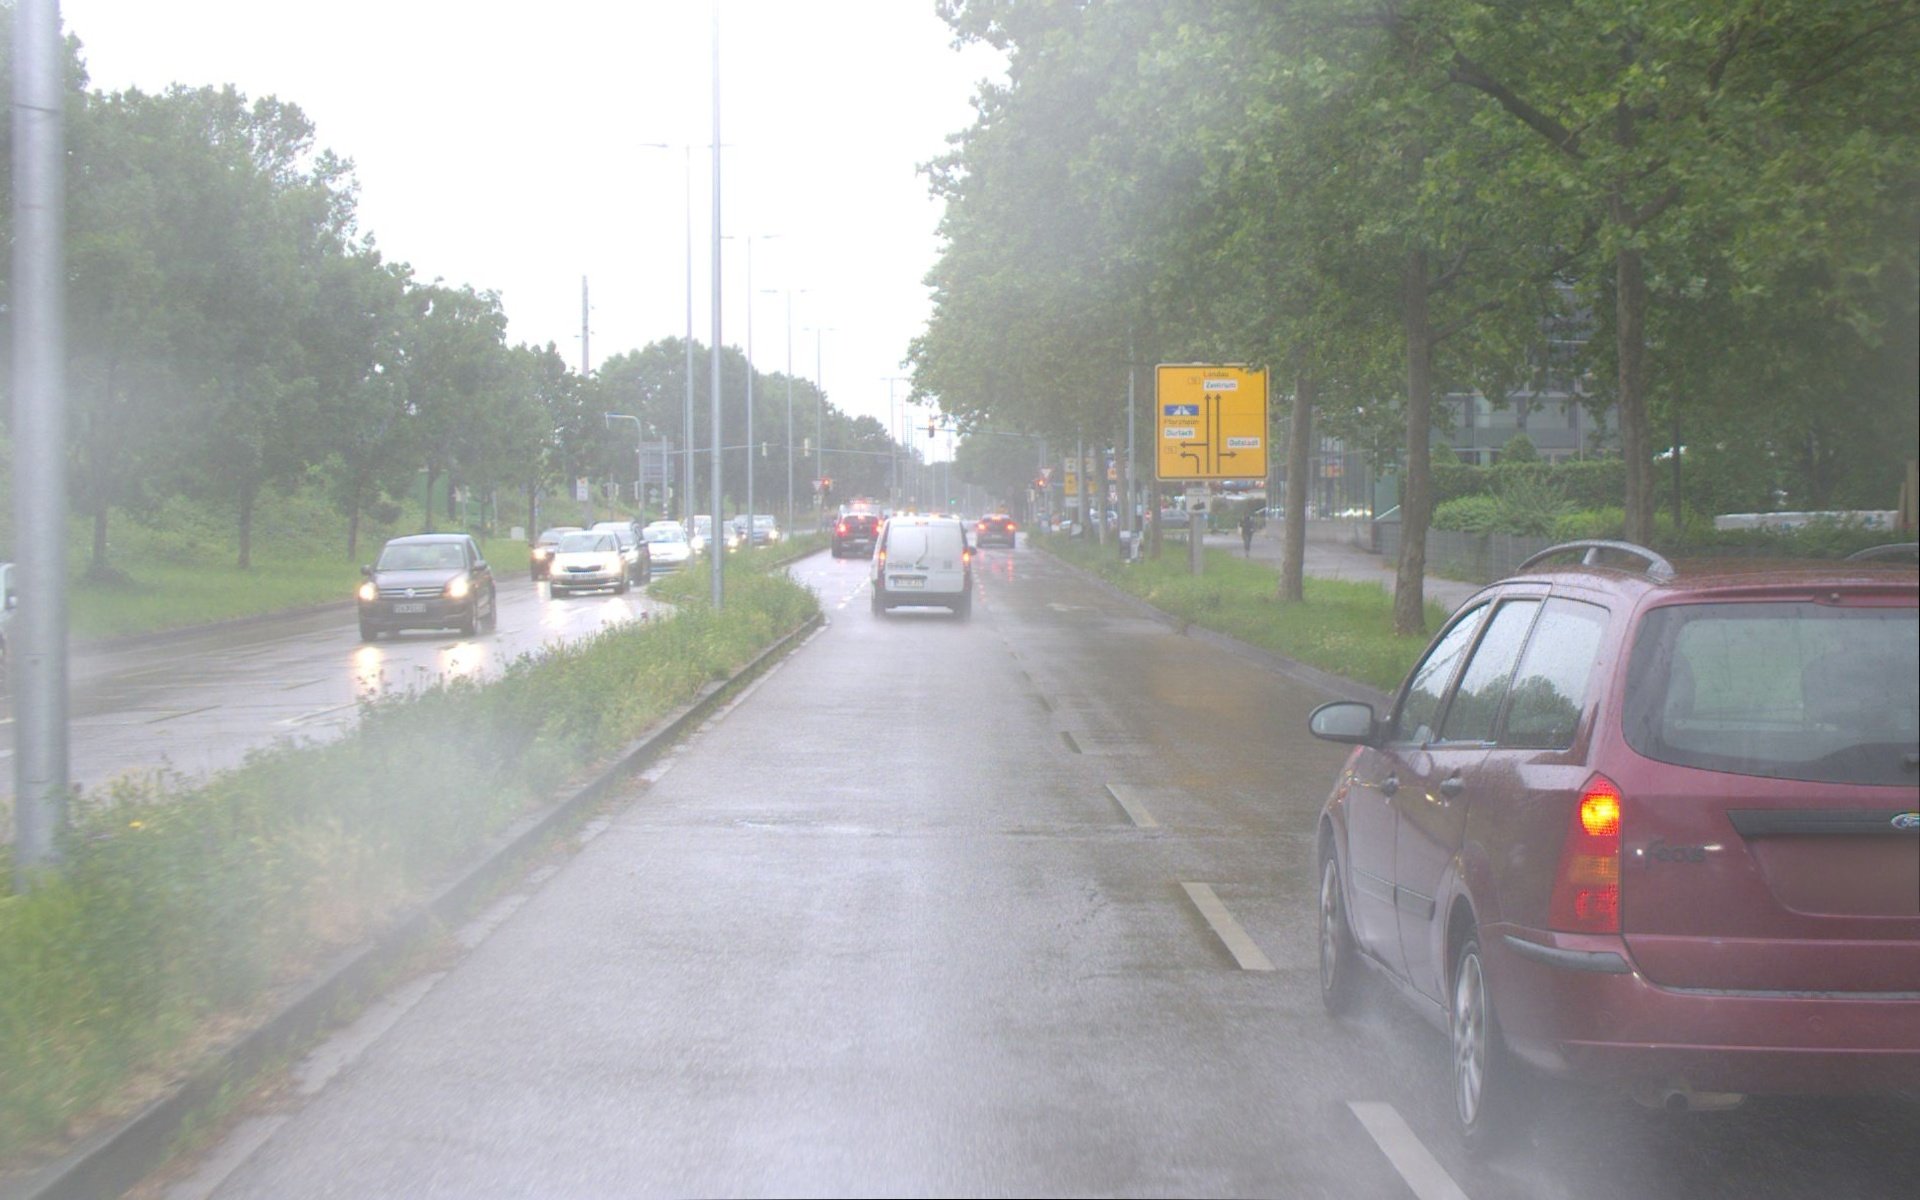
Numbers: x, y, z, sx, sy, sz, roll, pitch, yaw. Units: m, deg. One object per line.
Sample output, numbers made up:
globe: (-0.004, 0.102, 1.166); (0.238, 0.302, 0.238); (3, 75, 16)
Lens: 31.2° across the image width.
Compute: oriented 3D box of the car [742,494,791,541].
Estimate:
car: (-8.791, -3.767, 156.099); (1.824, 1.569, 4.361); (6, 6, 0)

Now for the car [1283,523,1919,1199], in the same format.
car: (2.061, 0.571, 9.482); (1.839, 1.531, 4.112); (1, 1, -1)

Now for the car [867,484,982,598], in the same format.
car: (-0.682, -1.049, 62.833); (1.993, 2.007, 4.000); (1, 0, -2)

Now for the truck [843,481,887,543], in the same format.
truck: (-3.869, -3.564, 139.947); (1.756, 2.458, 4.001); (1, 1, -2)

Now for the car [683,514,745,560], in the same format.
car: (-9.163, -2.371, 128.496); (1.908, 1.569, 4.709); (-3, 2, 0)

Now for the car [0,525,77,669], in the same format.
car: (-11.676, -0.050, 39.708); (1.898, 1.607, 4.478); (-1, 1, -2)

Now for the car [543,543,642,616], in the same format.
car: (-8.506, -0.502, 79.812); (1.898, 1.607, 4.112); (-1, 1, -1)

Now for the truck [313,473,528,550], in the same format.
truck: (-25.928, -4.213, 165.657); (10.110, 3.440, 2.658); (1, 0, -37)

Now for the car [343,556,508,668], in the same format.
car: (-8.503, 0.164, 55.020); (1.898, 1.607, 4.112); (-2, 1, 1)

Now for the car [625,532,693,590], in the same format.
car: (-8.960, -1.183, 102.296); (1.908, 1.569, 4.710); (-2, 2, -5)

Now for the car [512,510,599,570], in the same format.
car: (-12.010, -1.809, 102.423); (1.993, 1.682, 4.709); (-2, 2, 0)
